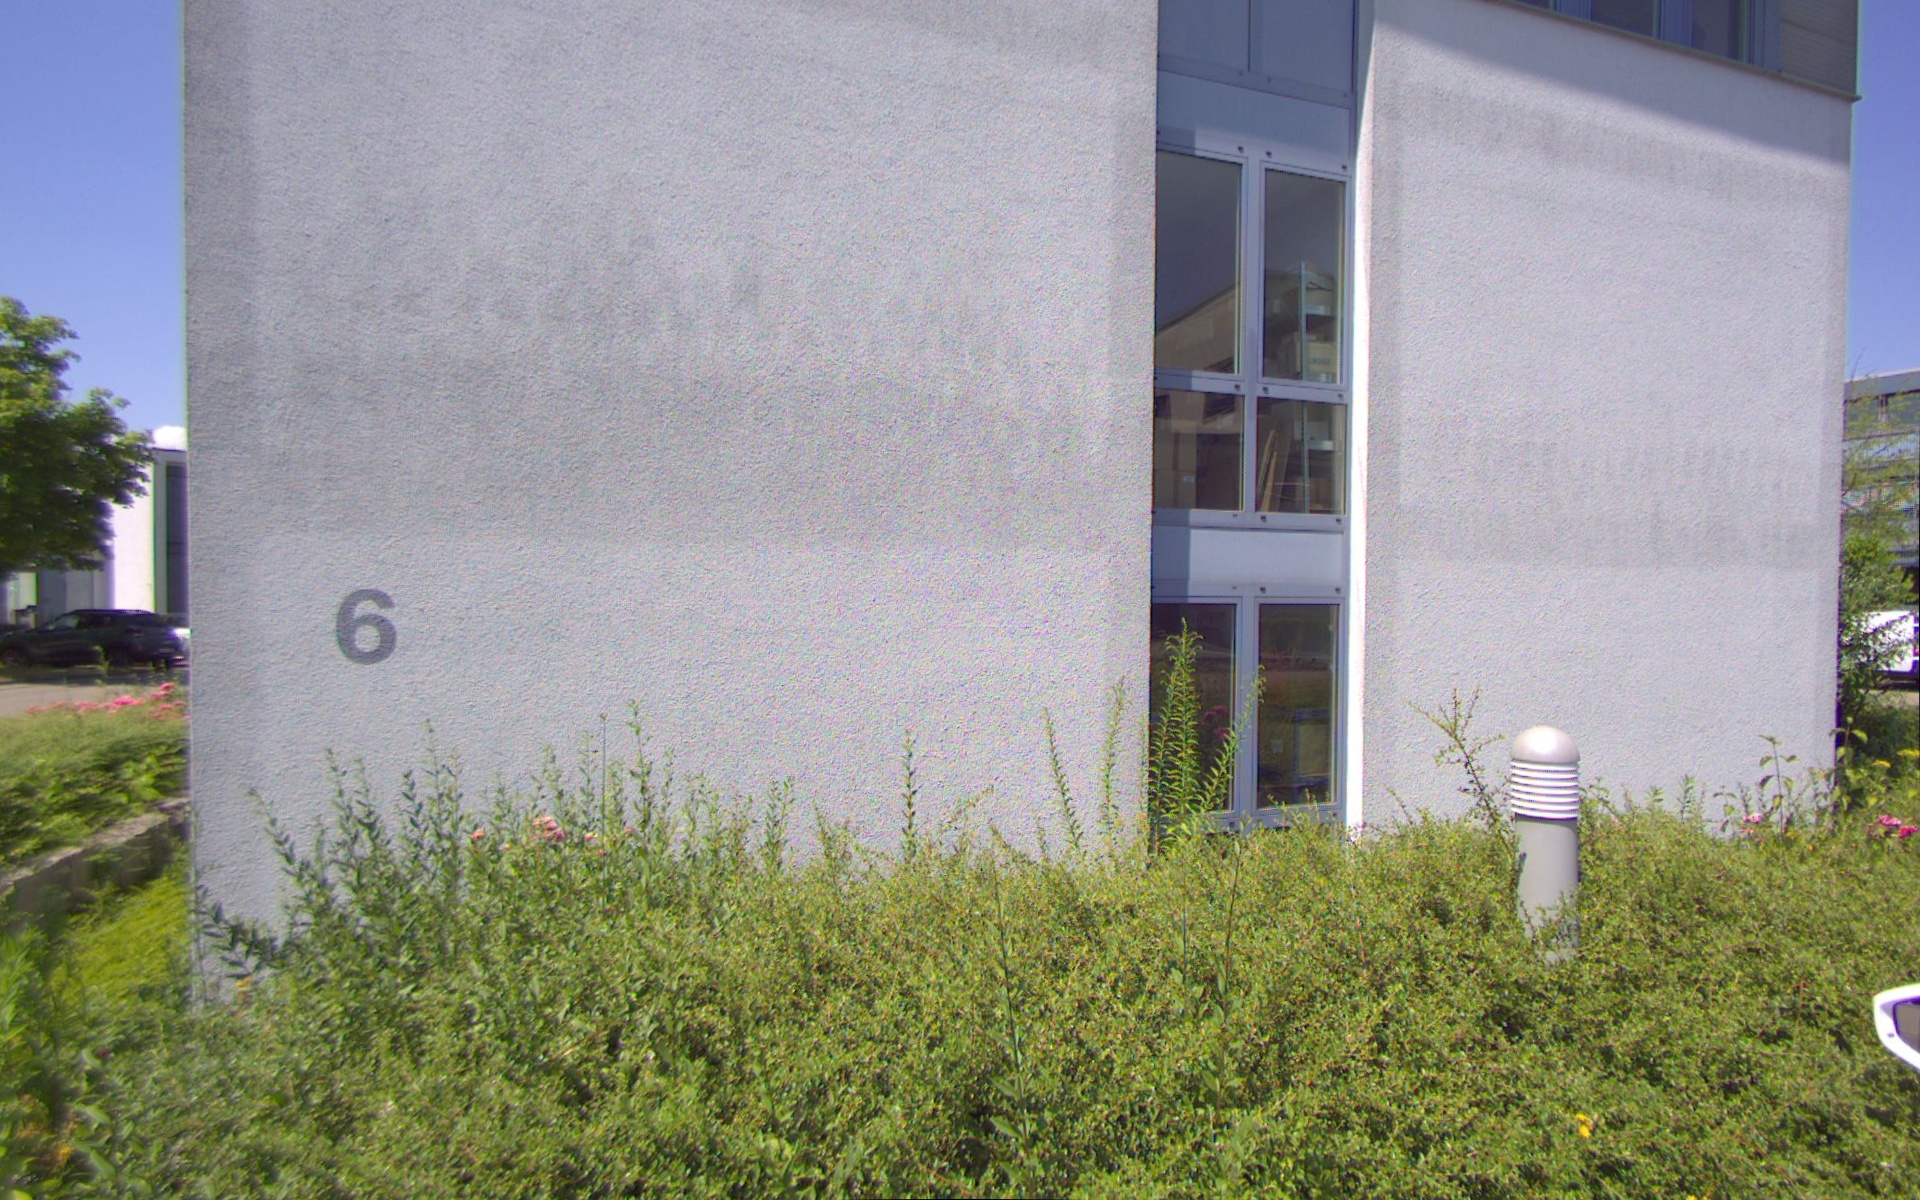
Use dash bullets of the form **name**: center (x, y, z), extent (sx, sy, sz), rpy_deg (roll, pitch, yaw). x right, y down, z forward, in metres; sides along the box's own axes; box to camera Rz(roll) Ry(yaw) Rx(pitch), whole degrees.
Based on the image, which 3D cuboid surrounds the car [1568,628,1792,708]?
- **car**: center (15.097, 1.348, 21.056), extent (4.420, 1.492, 1.852), rpy_deg (0, 0, -24)

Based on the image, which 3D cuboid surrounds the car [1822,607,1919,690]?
- **car**: center (24.064, 1.141, 25.101), extent (4.732, 1.916, 1.878), rpy_deg (0, 0, -22)

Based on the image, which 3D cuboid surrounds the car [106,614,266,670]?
- **car**: center (-20.876, 1.128, 27.176), extent (3.030, 1.443, 1.549), rpy_deg (1, -1, -4)

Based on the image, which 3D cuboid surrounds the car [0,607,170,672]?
- **car**: center (-21.570, 0.953, 24.700), extent (2.942, 1.443, 1.549), rpy_deg (2, -1, -4)
